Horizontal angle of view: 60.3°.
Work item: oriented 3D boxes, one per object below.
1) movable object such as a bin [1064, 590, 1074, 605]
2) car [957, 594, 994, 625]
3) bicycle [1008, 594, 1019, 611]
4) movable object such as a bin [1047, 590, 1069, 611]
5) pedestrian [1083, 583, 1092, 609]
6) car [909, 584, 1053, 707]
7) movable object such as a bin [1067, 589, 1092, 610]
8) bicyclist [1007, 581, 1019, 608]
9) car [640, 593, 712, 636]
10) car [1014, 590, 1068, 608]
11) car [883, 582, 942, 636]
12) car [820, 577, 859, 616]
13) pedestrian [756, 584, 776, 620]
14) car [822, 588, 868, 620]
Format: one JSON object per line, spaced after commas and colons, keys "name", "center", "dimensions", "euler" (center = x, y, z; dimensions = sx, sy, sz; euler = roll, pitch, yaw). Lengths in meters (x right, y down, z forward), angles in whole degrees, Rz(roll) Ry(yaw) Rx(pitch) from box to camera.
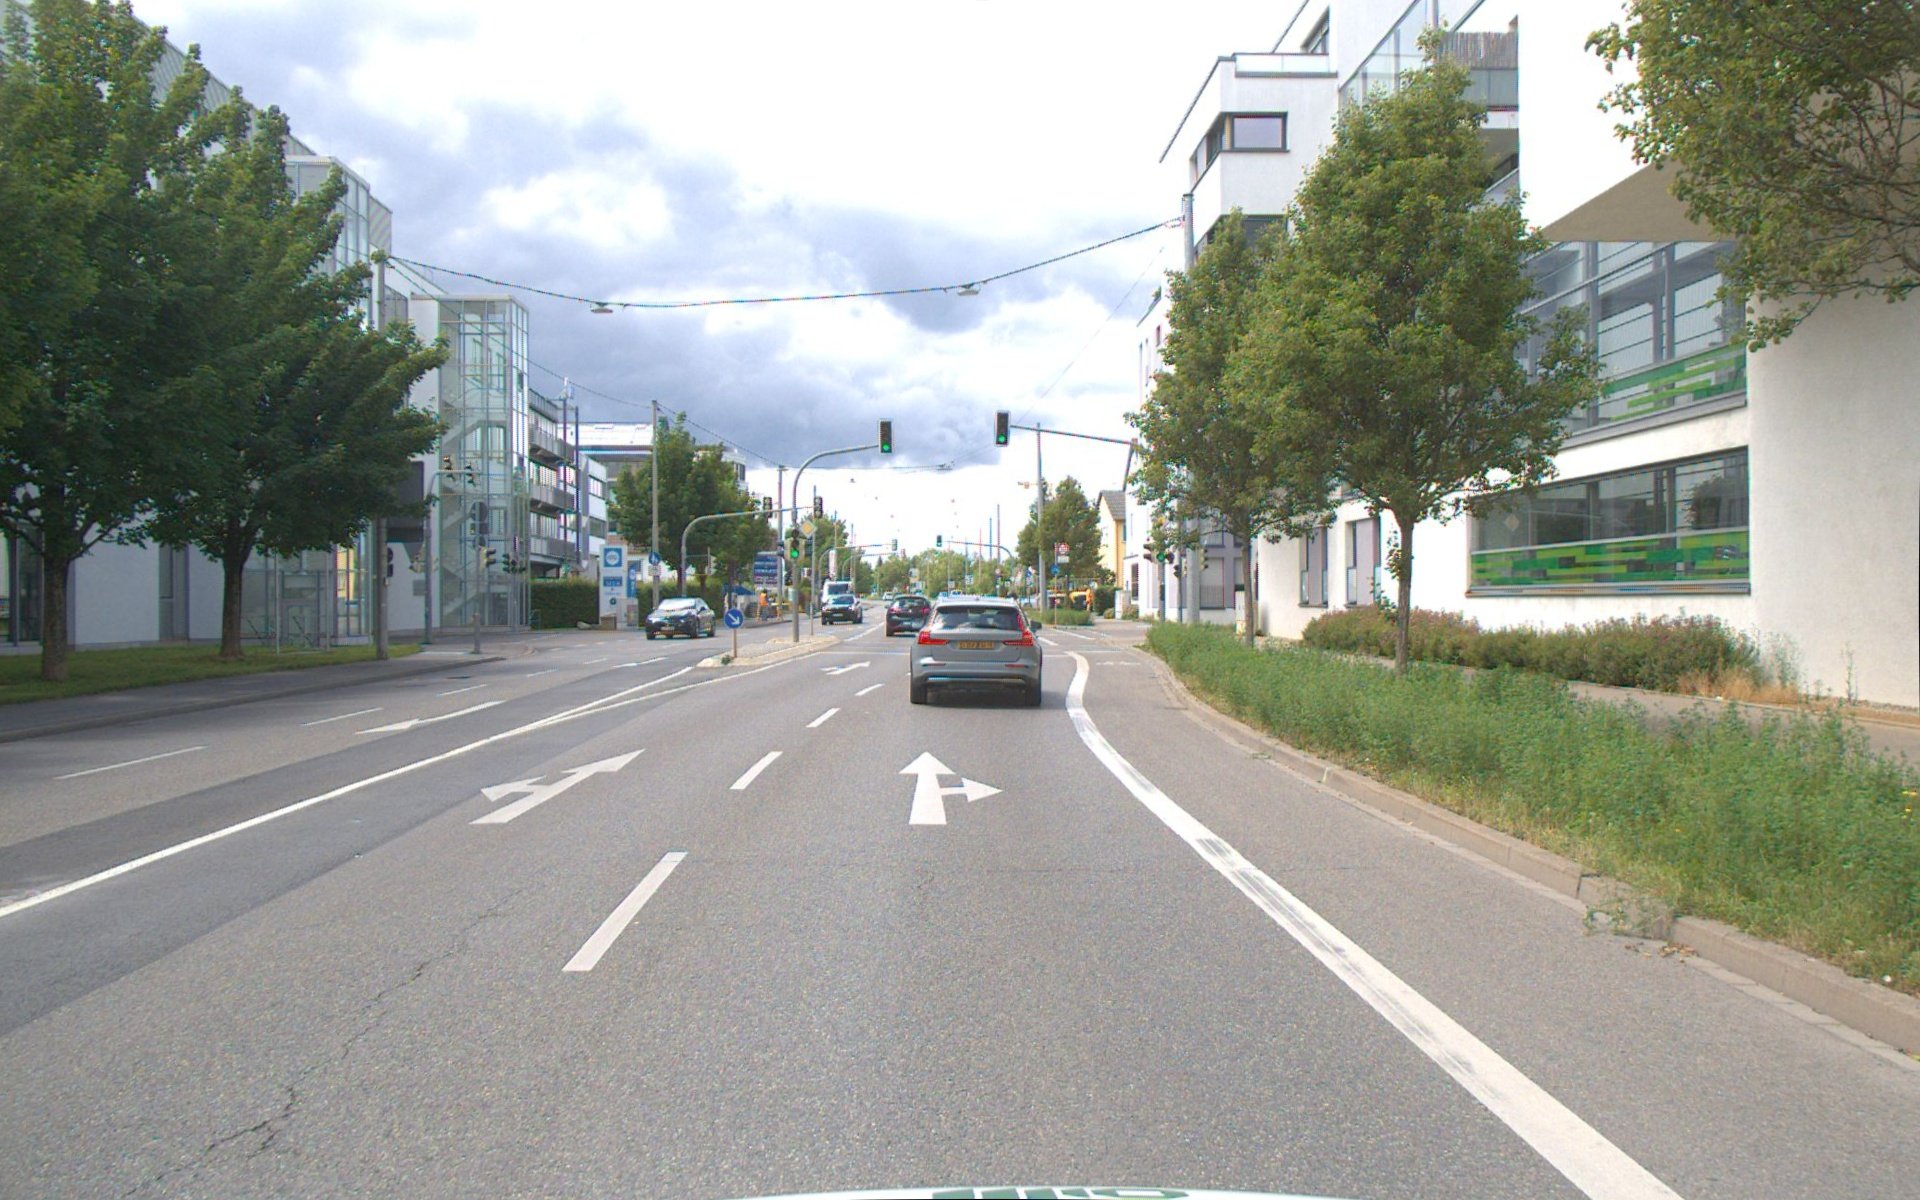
{"name": "movable object such as a bin", "center": [7.681, -0.170, 116.384], "dimensions": [0.557, 1.044, 0.404], "euler": [-1, -2, 37]}
{"name": "car", "center": [0.875, 0.550, 94.706], "dimensions": [1.953, 1.724, 3.999], "euler": [2, -1, -1]}
{"name": "bicycle", "center": [3.473, 0.160, 107.685], "dimensions": [0.625, 1.081, 1.977], "euler": [-4, 0, 0]}
{"name": "movable object such as a bin", "center": [6.872, 0.037, 115.470], "dimensions": [1.291, 1.385, 1.252], "euler": [-1, -1, 16]}
{"name": "pedestrian", "center": [8.774, -0.267, 113.839], "dimensions": [0.496, 1.796, 0.501], "euler": [1, -1, 16]}
{"name": "car", "center": [0.310, 0.626, 23.944], "dimensions": [1.856, 1.581, 4.000], "euler": [2, -1, 1]}
{"name": "movable object such as a bin", "center": [8.379, -0.048, 115.805], "dimensions": [1.297, 1.460, 1.246], "euler": [-1, -2, 36]}
{"name": "bicyclist", "center": [3.436, -0.348, 107.653], "dimensions": [0.625, 1.704, 0.890], "euler": [-4, 0, 0]}
{"name": "car", "center": [-10.552, 0.523, 61.809], "dimensions": [1.984, 1.470, 5.047], "euler": [-2, 0, -2]}
{"name": "car", "center": [7.060, -0.075, 144.526], "dimensions": [4.601, 1.519, 2.045], "euler": [1, 1, -1]}
{"name": "car", "center": [-1.706, 0.323, 58.169], "dimensions": [1.954, 1.747, 3.998], "euler": [2, -1, -3]}
{"name": "car", "center": [-8.189, -0.250, 113.236], "dimensions": [2.099, 2.515, 6.073], "euler": [-2, 0, 0]}
{"name": "pedestrian", "center": [-11.172, 0.107, 95.314], "dimensions": [0.713, 2.049, 0.805], "euler": [1, -1, 42]}
{"name": "car", "center": [-5.893, 0.239, 85.345], "dimensions": [1.846, 1.579, 4.541], "euler": [-2, -1, 2]}
